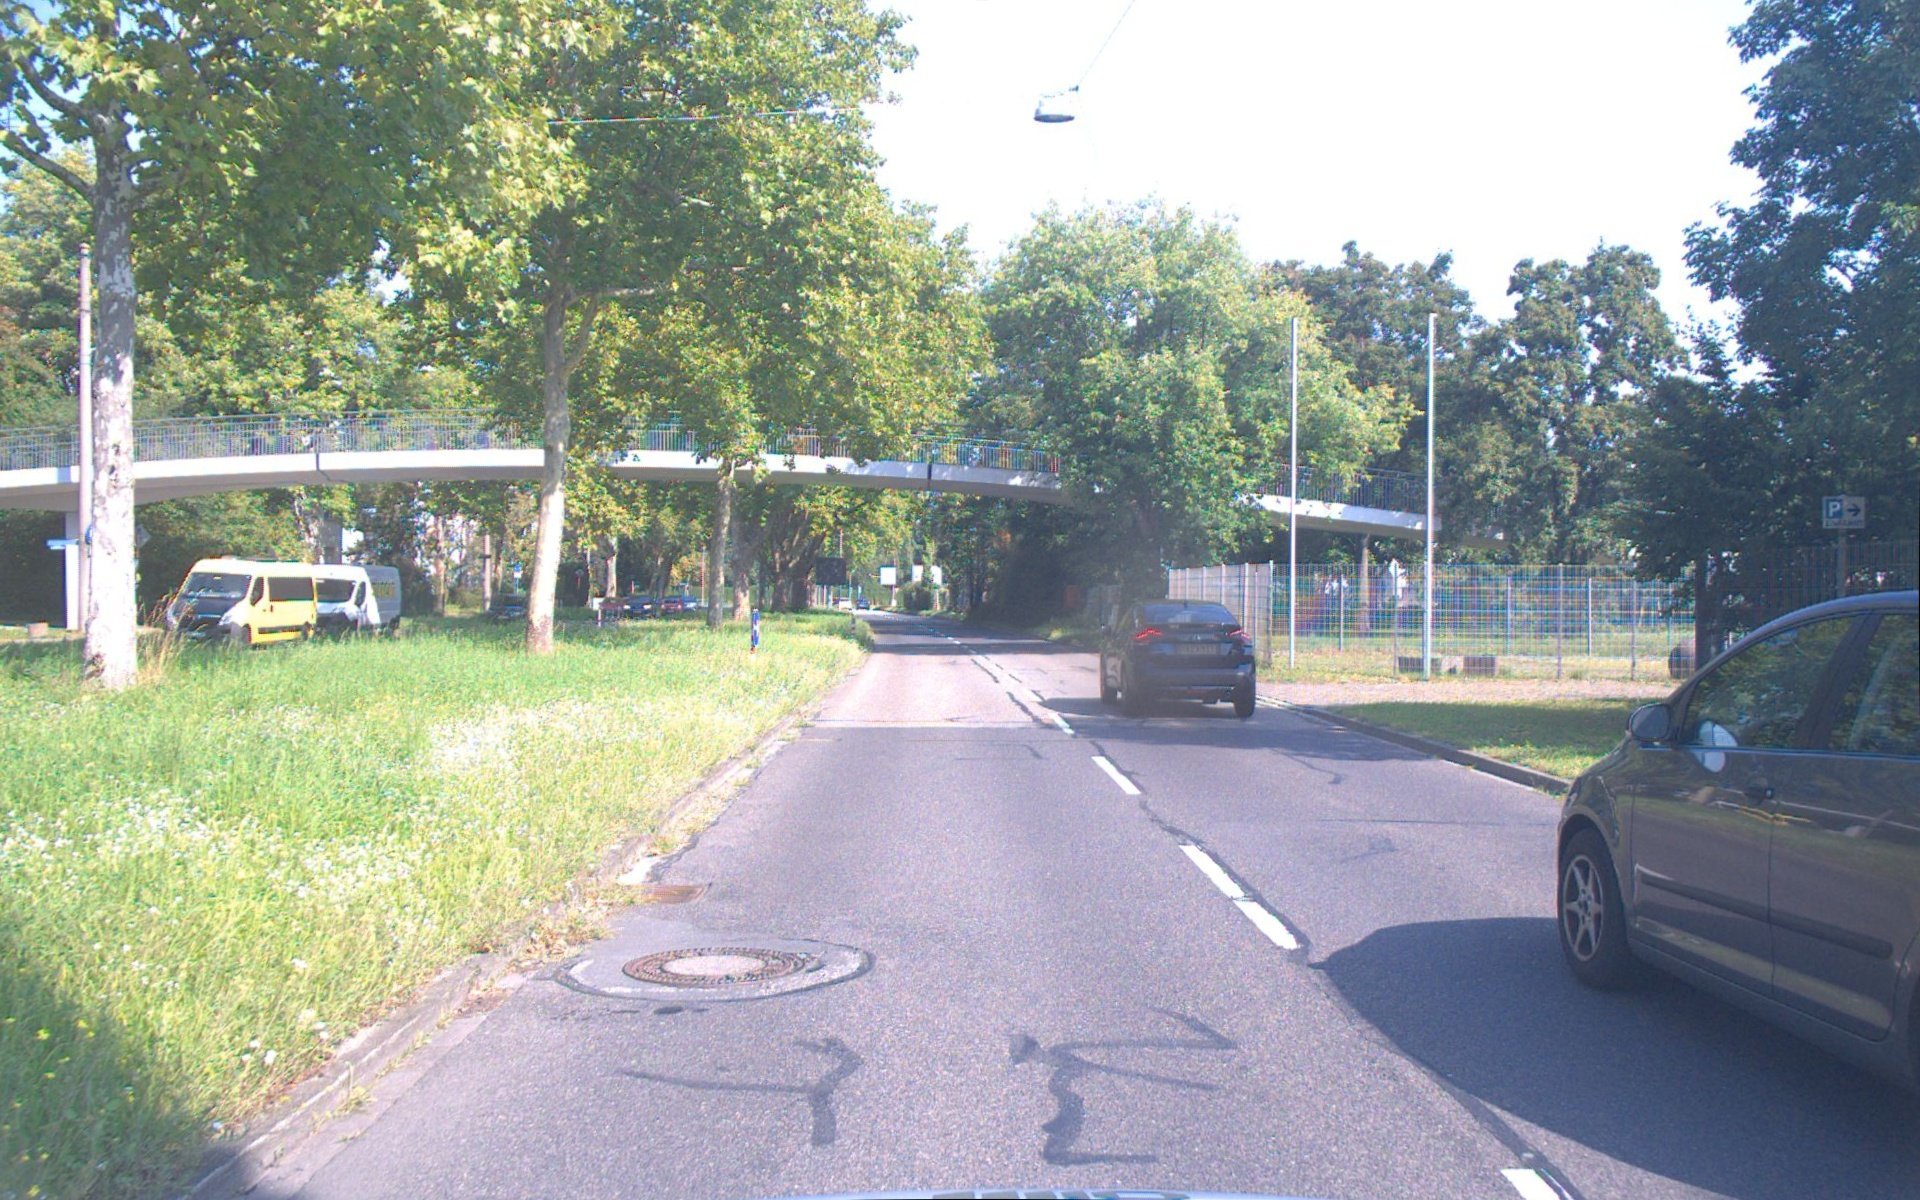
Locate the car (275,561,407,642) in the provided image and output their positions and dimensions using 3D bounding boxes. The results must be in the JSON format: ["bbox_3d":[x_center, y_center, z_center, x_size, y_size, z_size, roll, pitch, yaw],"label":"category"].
[{"bbox_3d":[-20.206,0.056,54.331,2.163,2.472,6.262,1,0,-2],"label":"car"}]

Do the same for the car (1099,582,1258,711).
[{"bbox_3d":[2.967,0.610,23.211,1.611,1.616,4.254,1,0,0],"label":"car"}]

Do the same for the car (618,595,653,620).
[{"bbox_3d":[-21.493,0.490,109.794,1.752,1.560,4.451,1,0,-5],"label":"car"}]

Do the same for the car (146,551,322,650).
[{"bbox_3d":[-19.888,0.027,45.674,2.163,2.523,6.060,1,0,0],"label":"car"}]

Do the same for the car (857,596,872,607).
[{"bbox_3d":[-12.843,0.189,222.264,1.763,1.426,3.994,1,0,-6],"label":"car"}]

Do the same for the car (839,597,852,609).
[{"bbox_3d":[-14.492,0.418,209.489,1.654,1.487,3.996,1,0,-5],"label":"car"}]

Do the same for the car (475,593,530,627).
[{"bbox_3d":[-22.105,0.469,80.023,1.491,1.560,3.864,0,0,1],"label":"car"}]

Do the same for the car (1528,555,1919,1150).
[{"bbox_3d":[3.343,0.689,5.277,1.612,1.584,3.897,1,0,-2],"label":"car"}]

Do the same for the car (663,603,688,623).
[{"bbox_3d":[-22.937,1.064,133.412,1.658,1.560,4.065,0,0,-5],"label":"car"}]

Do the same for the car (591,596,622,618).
[{"bbox_3d":[-24.837,0.516,116.371,1.508,1.477,4.061,1,0,-4],"label":"car"}]
